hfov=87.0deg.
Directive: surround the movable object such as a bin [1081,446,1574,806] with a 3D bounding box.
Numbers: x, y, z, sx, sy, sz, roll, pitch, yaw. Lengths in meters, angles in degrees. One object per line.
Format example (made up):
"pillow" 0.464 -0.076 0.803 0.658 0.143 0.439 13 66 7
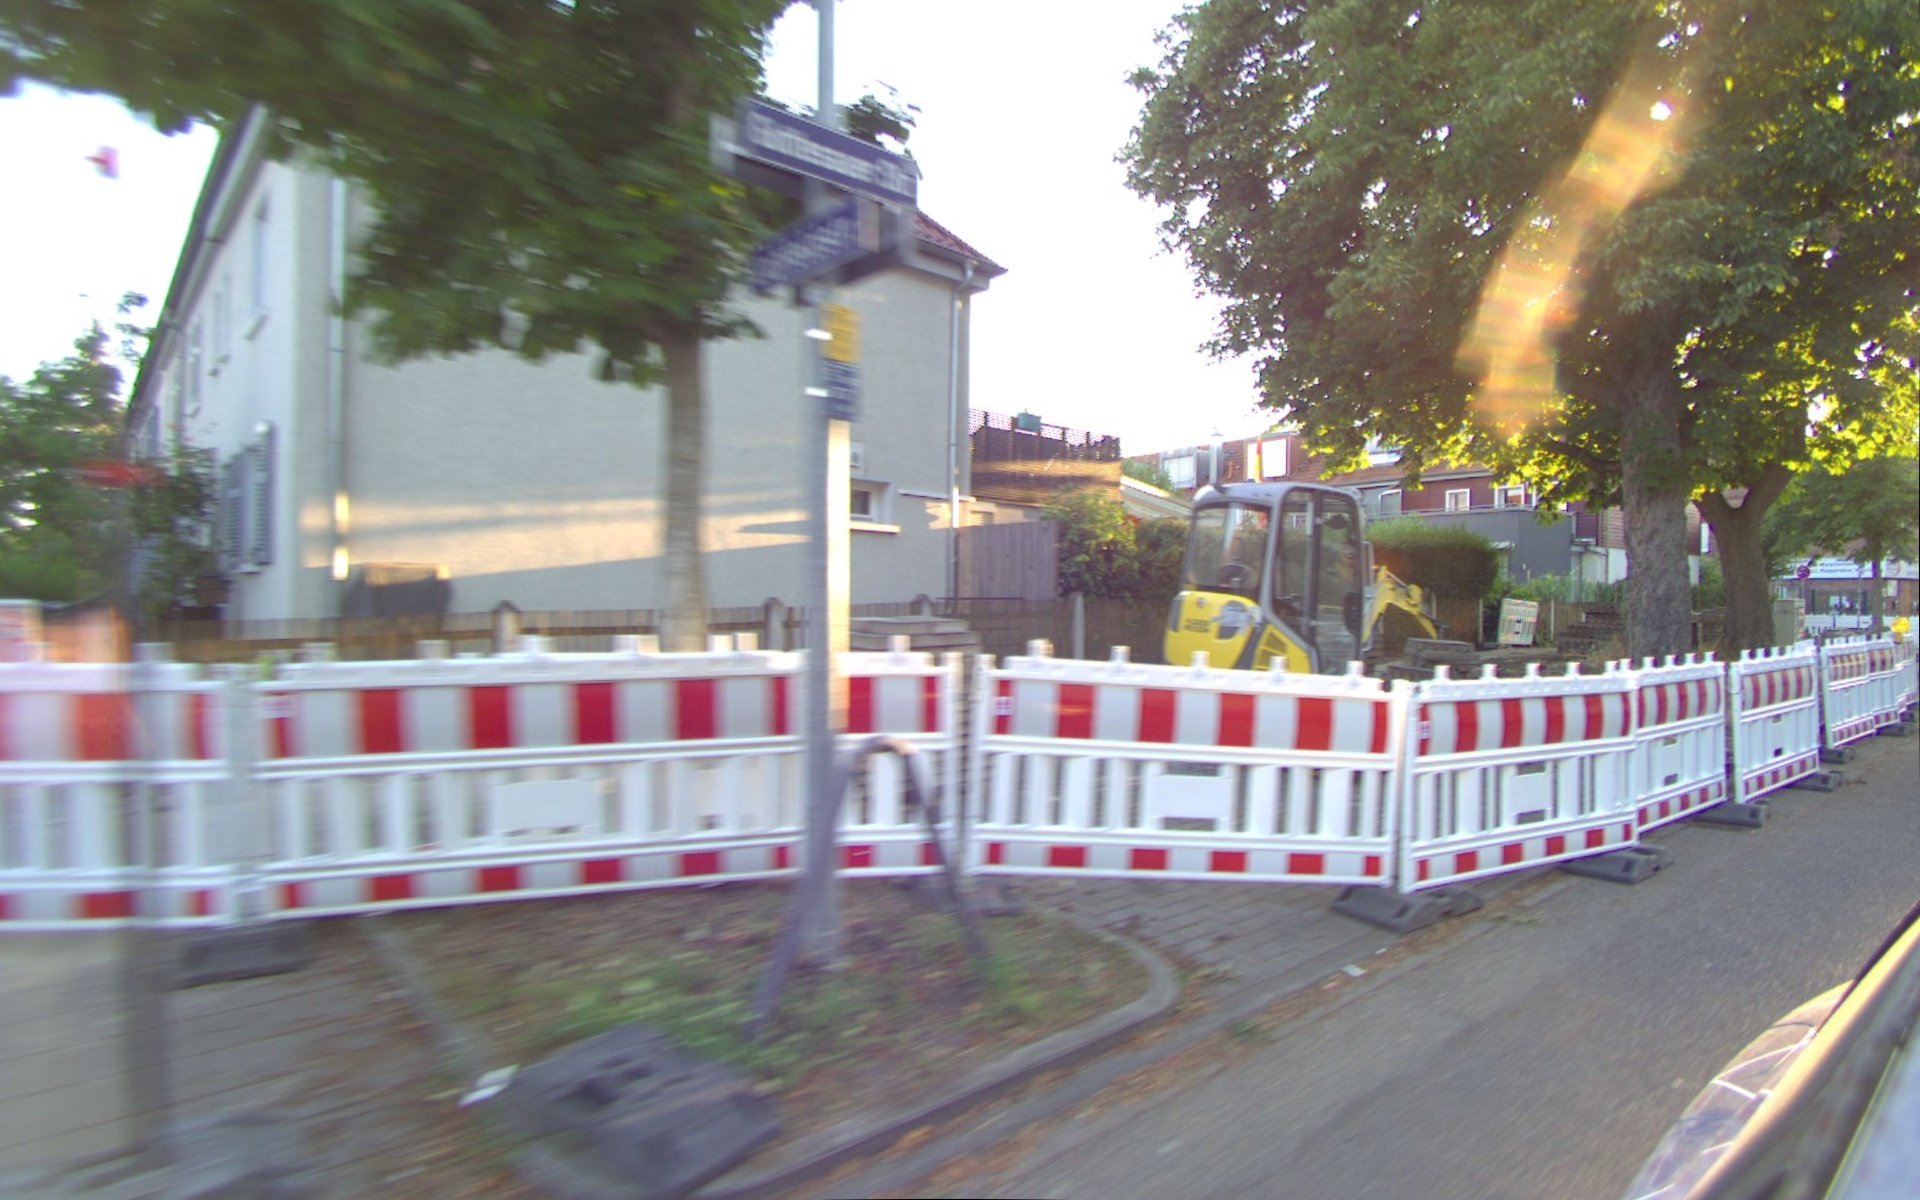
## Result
"movable object such as a bin" 3.731 0.197 9.635 2.628 2.433 5.115 0 -1 43
